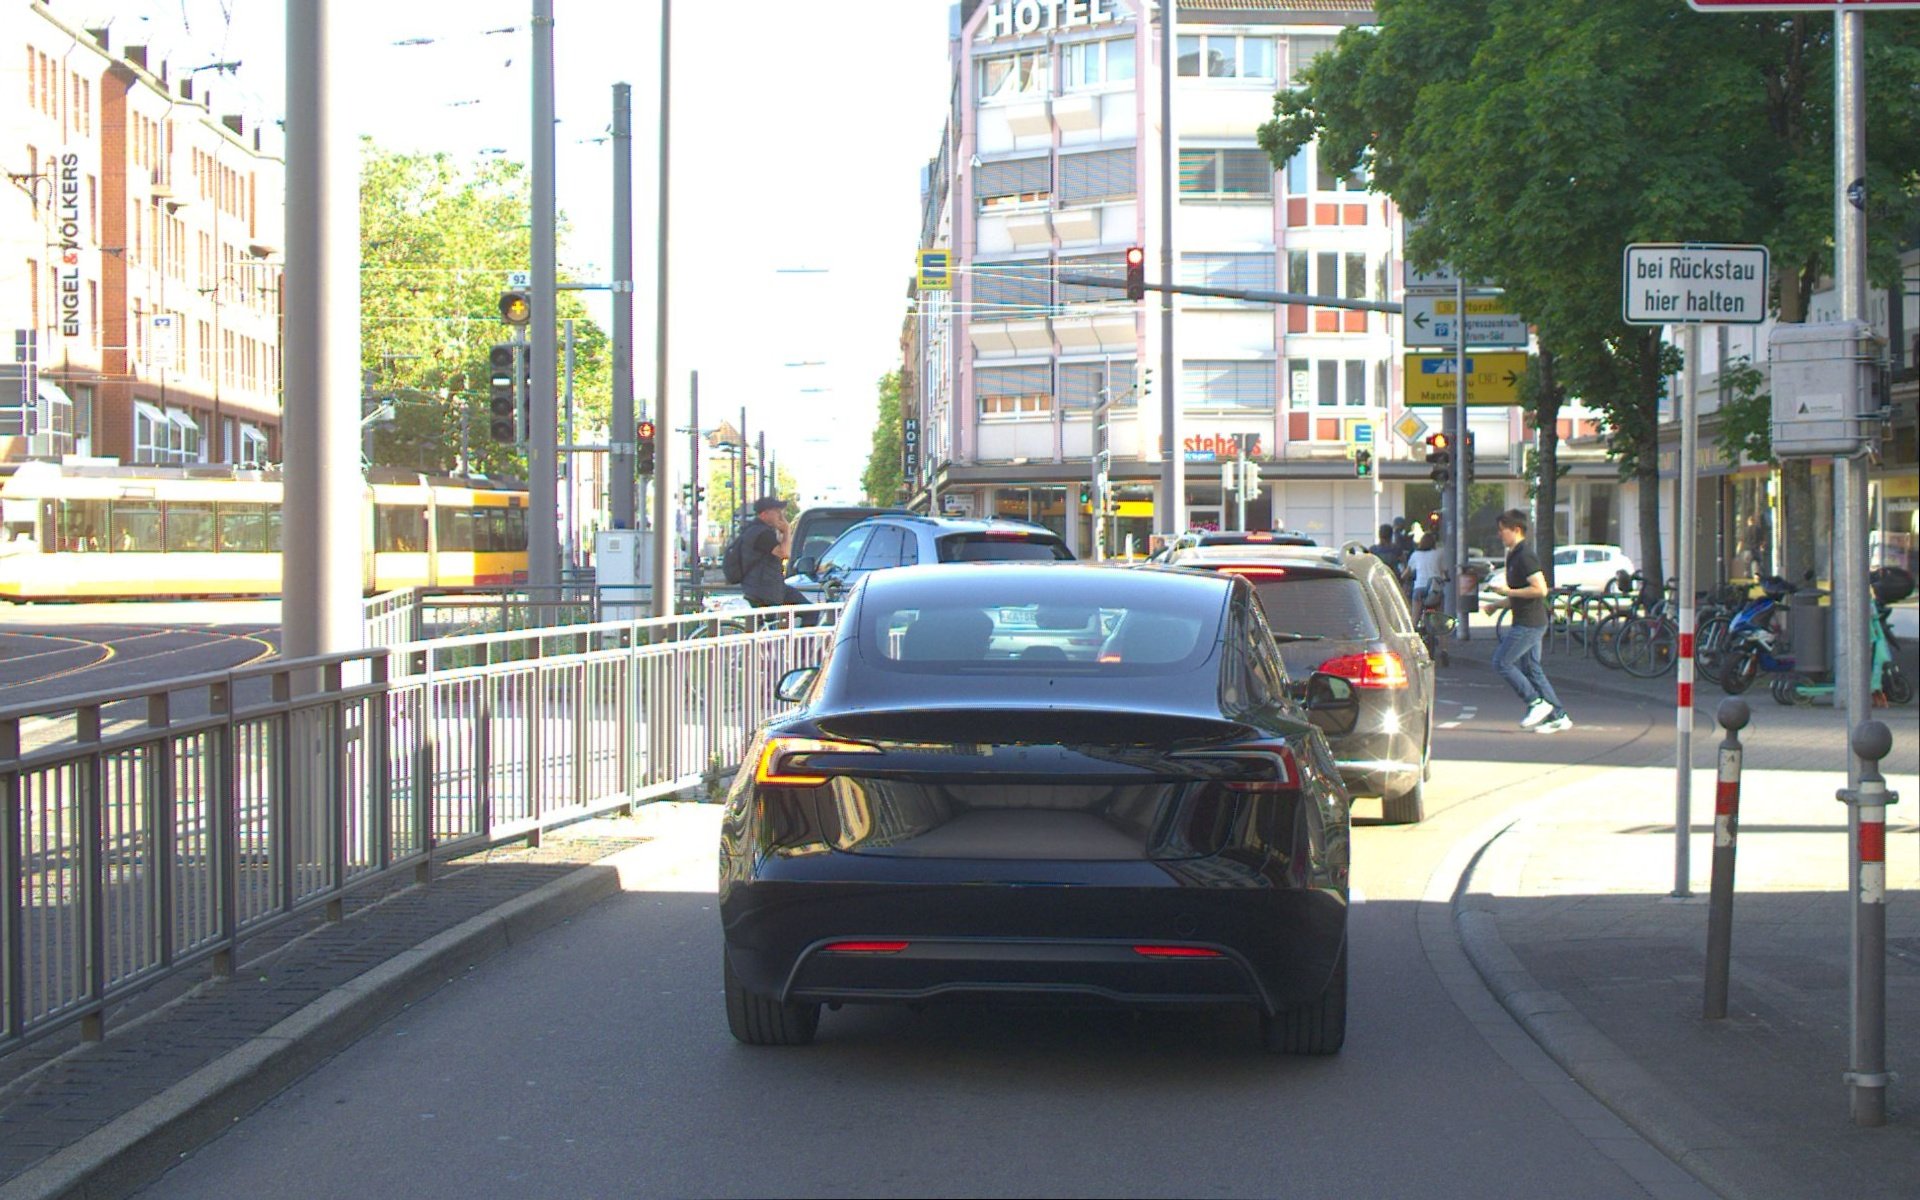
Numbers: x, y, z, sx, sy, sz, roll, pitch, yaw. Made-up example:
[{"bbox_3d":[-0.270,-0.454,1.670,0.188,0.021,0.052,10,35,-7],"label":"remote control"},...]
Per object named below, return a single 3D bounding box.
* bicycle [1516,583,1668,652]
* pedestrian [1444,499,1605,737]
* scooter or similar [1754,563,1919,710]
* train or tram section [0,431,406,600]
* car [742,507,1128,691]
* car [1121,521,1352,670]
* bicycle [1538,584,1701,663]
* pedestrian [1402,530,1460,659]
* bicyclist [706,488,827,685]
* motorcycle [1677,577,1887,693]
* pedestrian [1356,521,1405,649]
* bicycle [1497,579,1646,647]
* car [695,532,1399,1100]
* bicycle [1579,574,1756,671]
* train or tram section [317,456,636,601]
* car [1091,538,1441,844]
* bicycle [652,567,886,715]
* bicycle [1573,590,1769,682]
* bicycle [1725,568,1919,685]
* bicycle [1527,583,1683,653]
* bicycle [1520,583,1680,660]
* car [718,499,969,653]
[{"bbox_3d":[8.461,0.231,46.033,1.924,0.887,0.526,1,0,0],"label":"bicycle"},{"bbox_3d":[4.212,0.135,25.651,1.004,1.736,0.529,2,0,-26],"label":"pedestrian"},{"bbox_3d":[8.011,0.331,31.268,1.408,1.312,0.696,0,-1,-26],"label":"scooter or similar"},{"bbox_3d":[-19.351,-1.954,84.173,2.679,3.703,14.166,2,1,32],"label":"train or tram section"},{"bbox_3d":[-0.310,-0.051,31.107,1.783,1.514,4.219,2,1,-26],"label":"car"},{"bbox_3d":[3.000,-0.070,38.028,1.824,1.514,3.650,2,1,-7],"label":"car"},{"bbox_3d":[8.199,0.288,42.769,1.924,0.947,0.526,1,0,0],"label":"bicycle"},{"bbox_3d":[5.973,-0.076,43.593,0.629,1.608,0.643,1,1,2],"label":"pedestrian"},{"bbox_3d":[-1.517,-0.106,26.891,0.836,1.494,0.560,2,0,-9],"label":"bicyclist"},{"bbox_3d":[8.510,0.358,35.624,1.991,1.124,0.596,2,0,-1],"label":"motorcycle"},{"bbox_3d":[5.608,-0.206,45.866,0.562,1.677,0.750,1,1,4],"label":"pedestrian"},{"bbox_3d":[8.340,0.175,46.901,1.924,0.887,0.526,1,0,0],"label":"bicycle"},{"bbox_3d":[0.152,0.560,11.082,1.848,1.479,3.788,1,1,-3],"label":"car"},{"bbox_3d":[8.191,0.254,39.822,1.924,1.093,0.555,1,0,0],"label":"bicycle"},{"bbox_3d":[-13.388,-1.890,97.481,2.639,3.706,15.373,2,1,17],"label":"train or tram section"},{"bbox_3d":[1.749,0.401,18.714,1.654,1.413,3.999,2,1,8],"label":"car"},{"bbox_3d":[-1.502,0.315,26.893,1.727,1.084,0.678,2,0,-9],"label":"bicycle"},{"bbox_3d":[7.826,0.394,37.873,2.051,0.979,0.483,1,0,0],"label":"bicycle"},{"bbox_3d":[8.576,0.259,33.653,2.051,1.118,0.483,1,0,0],"label":"bicycle"},{"bbox_3d":[8.413,0.233,44.888,1.924,0.885,0.526,1,0,0],"label":"bicycle"},{"bbox_3d":[8.143,0.276,43.784,1.924,0.947,0.526,1,0,0],"label":"bicycle"},{"bbox_3d":[-1.327,-0.280,37.338,1.824,1.514,4.219,2,1,-14],"label":"car"}]
